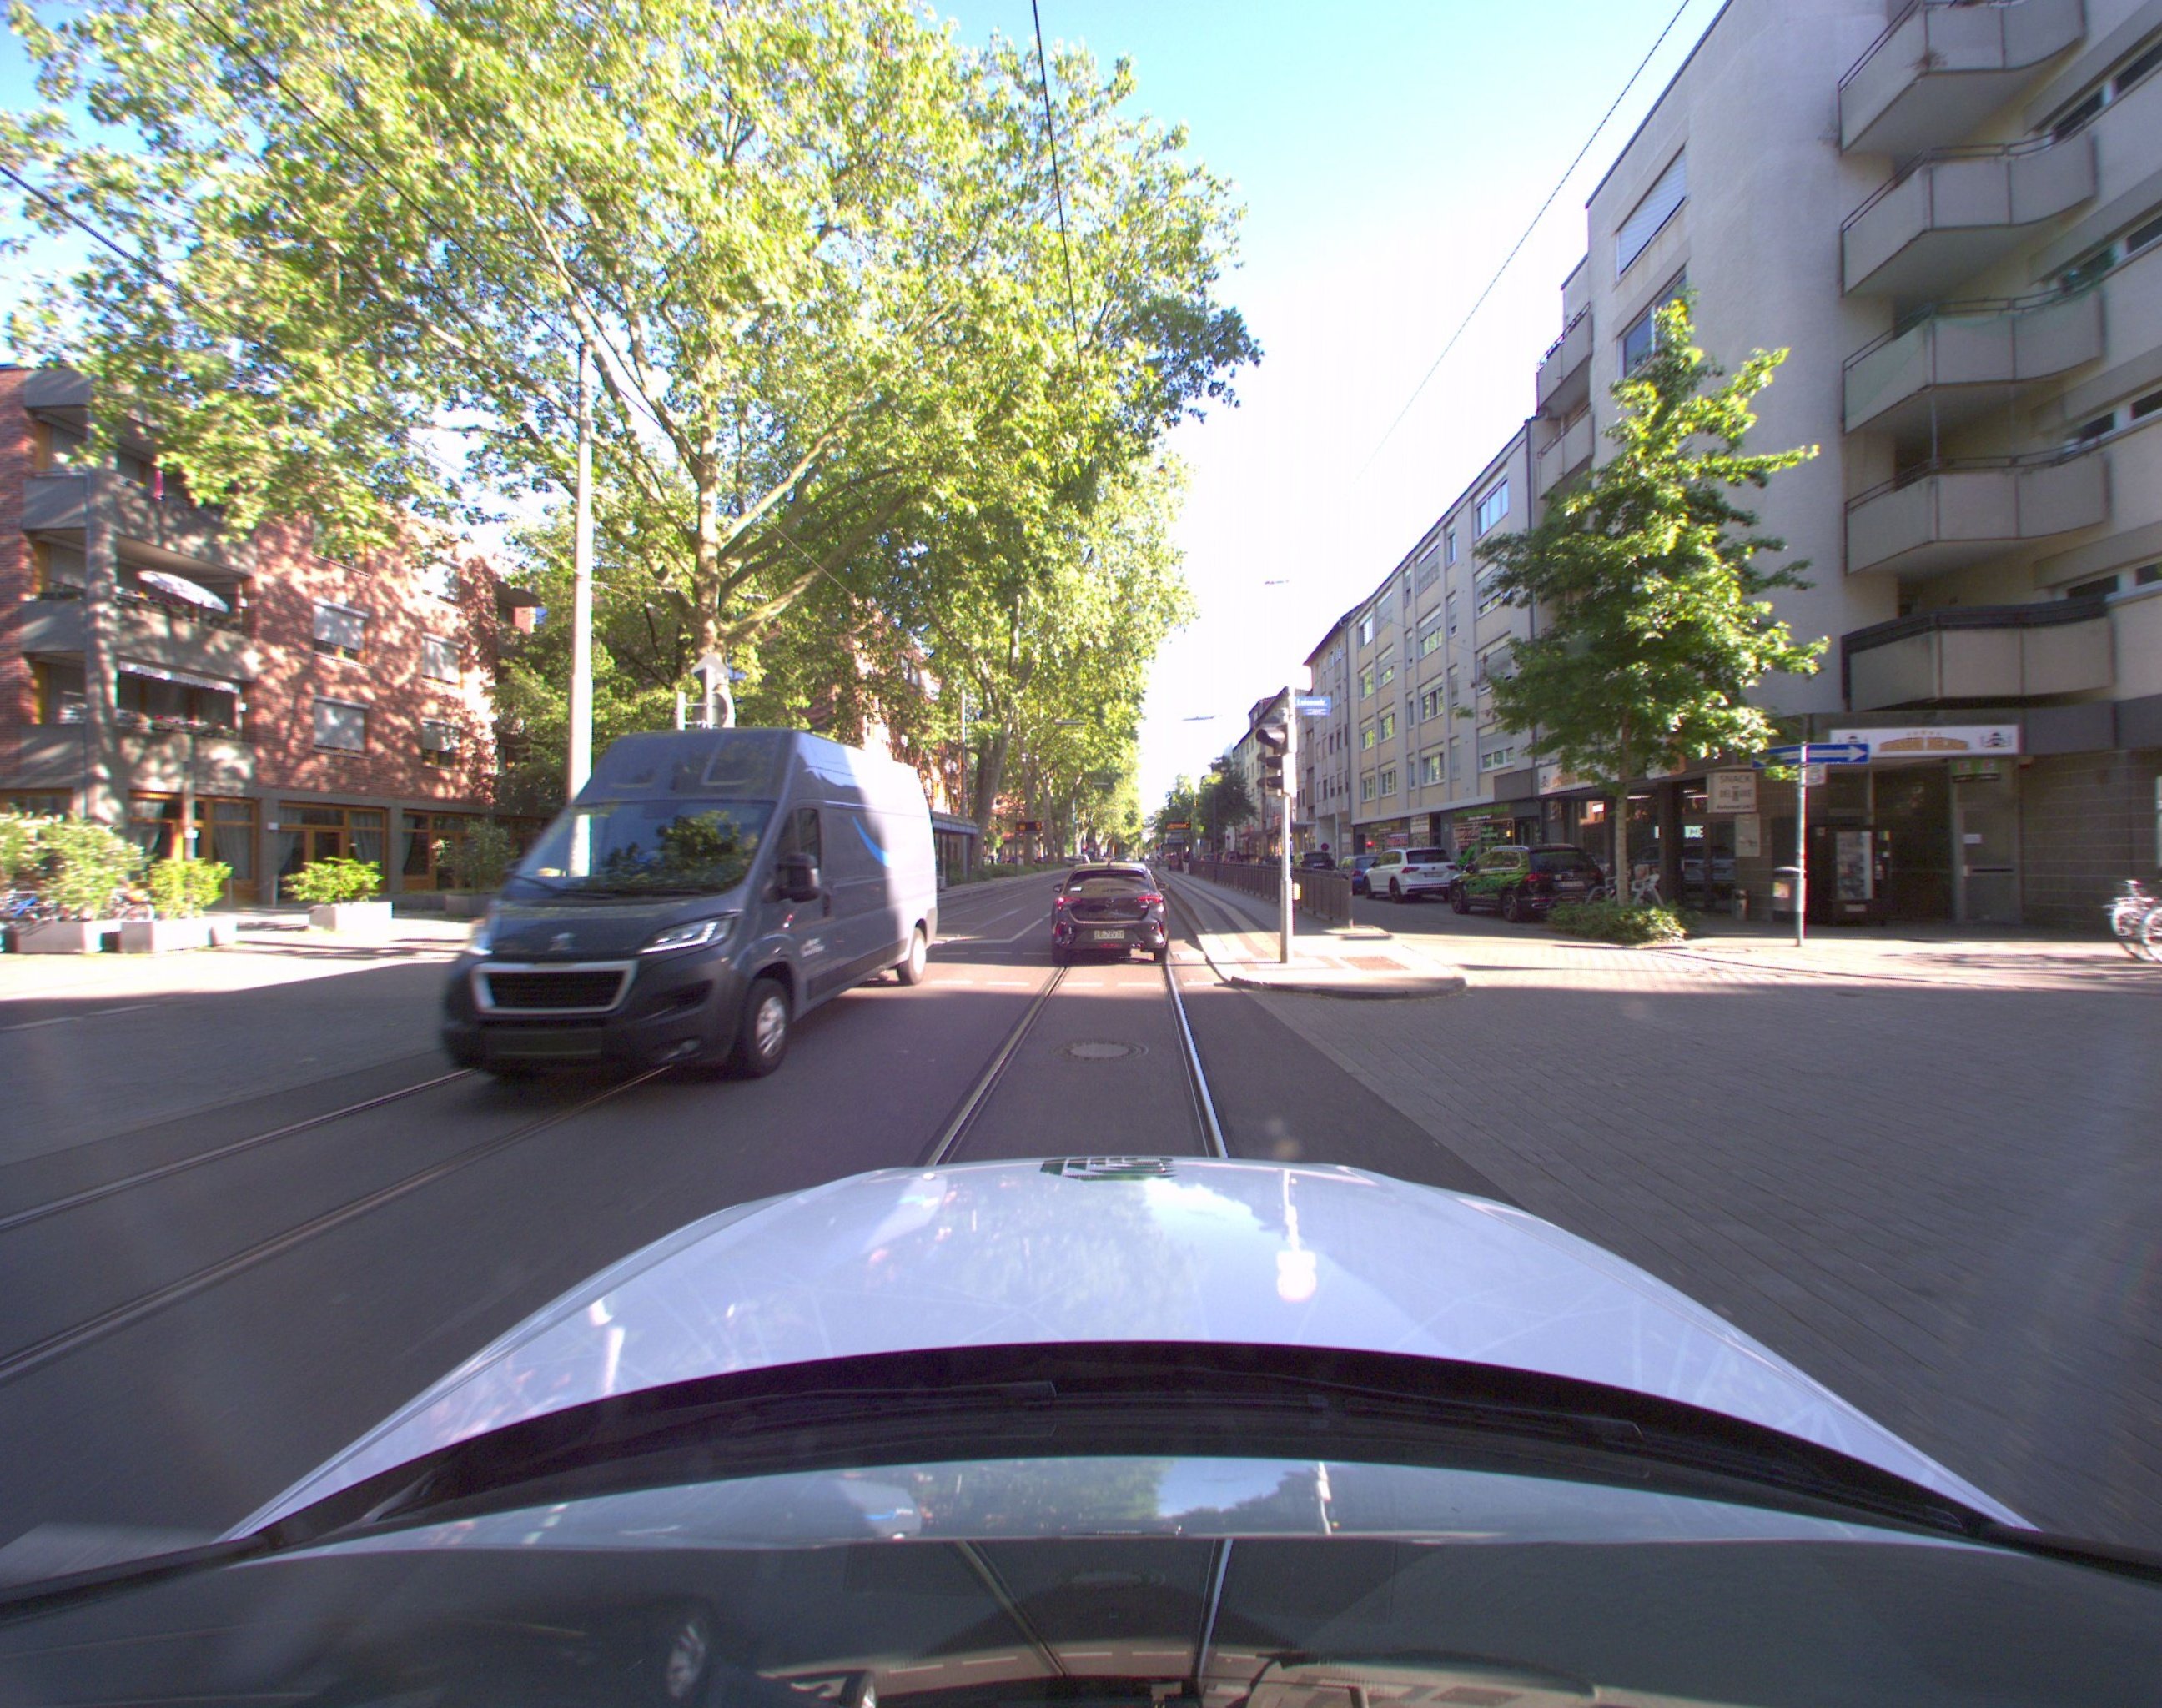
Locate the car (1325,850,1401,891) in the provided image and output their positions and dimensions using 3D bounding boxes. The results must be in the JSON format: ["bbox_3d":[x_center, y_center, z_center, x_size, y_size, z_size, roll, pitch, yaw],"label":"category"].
[{"bbox_3d":[10.724,0.616,31.243,1.736,1.440,4.251,0,-1,4],"label":"car"}]

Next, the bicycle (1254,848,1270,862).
[{"bbox_3d":[14.998,0.090,67.478,0.597,1.136,2.198,0,-1,-7],"label":"bicycle"}]

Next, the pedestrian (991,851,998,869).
[{"bbox_3d":[-9.304,0.642,87.435,0.668,1.950,0.499,0,-1,10],"label":"pedestrian"}]

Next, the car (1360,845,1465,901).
[{"bbox_3d":[10.308,0.562,25.681,1.791,1.606,4.419,0,-1,4],"label":"car"}]

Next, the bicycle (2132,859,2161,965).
[{"bbox_3d":[13.390,0.653,9.384,1.908,1.207,0.511,-1,0,-1],"label":"bicycle"}]

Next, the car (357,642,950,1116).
[{"bbox_3d":[-3.034,0.184,7.846,2.104,2.738,6.121,-2,-1,4],"label":"car"}]

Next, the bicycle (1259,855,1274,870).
[{"bbox_3d":[14.770,0.691,64.869,0.410,1.136,2.198,0,-1,-7],"label":"bicycle"}]

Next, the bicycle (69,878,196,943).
[{"bbox_3d":[-18.042,1.051,15.544,0.539,1.084,1.538,0,2,2],"label":"bicycle"}]

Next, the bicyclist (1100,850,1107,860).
[{"bbox_3d":[3.659,0.147,133.357,0.936,1.703,1.155,0,-1,7],"label":"bicyclist"}]

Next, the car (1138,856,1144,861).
[{"bbox_3d":[18.136,1.250,246.501,1.738,1.544,4.002,0,-1,2],"label":"car"}]

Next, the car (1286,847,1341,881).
[{"bbox_3d":[11.790,0.513,41.613,1.849,1.615,4.402,0,-1,4],"label":"car"}]

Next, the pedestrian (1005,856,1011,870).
[{"bbox_3d":[-9.764,1.210,108.909,0.670,1.950,0.498,1,0,0],"label":"pedestrian"}]

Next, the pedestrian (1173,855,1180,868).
[{"bbox_3d":[7.888,0.624,67.360,0.532,1.099,0.551,0,-1,-1],"label":"pedestrian"}]

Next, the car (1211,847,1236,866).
[{"bbox_3d":[14.426,0.272,82.519,1.985,1.797,4.003,0,-1,3],"label":"car"}]

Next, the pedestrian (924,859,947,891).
[{"bbox_3d":[-5.436,0.781,30.393,0.703,1.168,0.659,-2,-1,0],"label":"pedestrian"}]

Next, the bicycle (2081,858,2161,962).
[{"bbox_3d":[13.472,0.659,9.938,1.908,1.207,0.511,-1,0,-1],"label":"bicycle"}]

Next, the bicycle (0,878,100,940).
[{"bbox_3d":[-20.339,1.044,15.808,0.539,1.084,1.640,0,1,2],"label":"bicycle"}]

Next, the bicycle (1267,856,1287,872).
[{"bbox_3d":[14.267,0.725,59.331,0.621,1.136,2.433,0,-1,-7],"label":"bicycle"}]

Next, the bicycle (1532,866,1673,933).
[{"bbox_3d":[9.726,0.830,15.260,2.112,1.187,0.683,0,-1,11],"label":"bicycle"}]

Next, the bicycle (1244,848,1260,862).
[{"bbox_3d":[14.362,0.098,68.528,0.597,1.136,2.198,0,-1,-7],"label":"bicycle"}]

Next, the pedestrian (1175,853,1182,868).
[{"bbox_3d":[8.125,0.554,68.078,0.501,1.304,0.428,0,-1,-1],"label":"pedestrian"}]

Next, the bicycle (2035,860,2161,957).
[{"bbox_3d":[13.548,0.687,10.501,1.908,1.208,0.511,0,-1,-1],"label":"bicycle"}]

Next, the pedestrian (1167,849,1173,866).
[{"bbox_3d":[8.628,0.330,78.896,0.528,1.709,0.753,0,-1,6],"label":"pedestrian"}]

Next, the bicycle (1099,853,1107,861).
[{"bbox_3d":[3.547,0.527,132.445,0.950,1.240,2.983,0,-1,7],"label":"bicycle"}]

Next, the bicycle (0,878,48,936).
[{"bbox_3d":[-21.606,1.072,15.959,0.539,1.084,1.640,0,2,2],"label":"bicycle"}]

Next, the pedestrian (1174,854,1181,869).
[{"bbox_3d":[7.887,0.608,66.685,0.532,1.230,0.510,0,-1,-1],"label":"pedestrian"}]

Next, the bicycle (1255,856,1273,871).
[{"bbox_3d":[13.889,0.740,61.824,0.602,1.136,2.428,0,-1,-7],"label":"bicycle"}]

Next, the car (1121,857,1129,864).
[{"bbox_3d":[10.179,1.538,186.957,1.738,1.544,4.002,0,-1,2],"label":"car"}]

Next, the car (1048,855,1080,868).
[{"bbox_3d":[-2.211,0.962,105.950,4.105,1.701,1.881,0,-1,-4],"label":"car"}]

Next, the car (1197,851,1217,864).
[{"bbox_3d":[14.682,0.372,94.855,1.985,1.486,4.004,0,-1,4],"label":"car"}]

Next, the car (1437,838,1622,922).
[{"bbox_3d":[10.029,0.545,18.666,1.985,1.615,4.450,-2,-1,4],"label":"car"}]

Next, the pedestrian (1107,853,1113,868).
[{"bbox_3d":[3.935,0.916,110.052,0.670,2.013,0.704,1,0,15],"label":"pedestrian"}]

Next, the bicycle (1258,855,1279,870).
[{"bbox_3d":[14.403,0.675,62.764,0.610,1.136,2.914,0,-1,-7],"label":"bicycle"}]

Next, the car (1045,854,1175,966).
[{"bbox_3d":[0.451,0.786,12.991,1.753,1.508,3.684,-1,-1,2],"label":"car"}]

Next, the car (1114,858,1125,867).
[{"bbox_3d":[6.736,1.436,142.616,1.738,1.544,4.002,0,-1,2],"label":"car"}]

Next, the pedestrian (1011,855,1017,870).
[{"bbox_3d":[-8.932,1.072,108.049,0.670,1.950,0.498,1,0,0],"label":"pedestrian"}]

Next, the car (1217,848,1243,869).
[{"bbox_3d":[13.870,0.427,75.956,1.985,1.952,4.003,0,-1,3],"label":"car"}]

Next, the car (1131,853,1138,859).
[{"bbox_3d":[13.976,0.611,212.658,1.738,1.544,4.002,0,-1,2],"label":"car"}]

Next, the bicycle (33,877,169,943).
[{"bbox_3d":[-18.666,1.039,15.571,0.539,1.084,1.640,0,2,2],"label":"bicycle"}]

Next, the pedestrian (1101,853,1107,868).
[{"bbox_3d":[3.108,0.912,110.263,0.671,2.013,0.703,1,0,10],"label":"pedestrian"}]

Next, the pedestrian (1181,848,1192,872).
[{"bbox_3d":[7.216,0.406,55.844,0.628,1.576,0.871,2,0,4],"label":"pedestrian"}]

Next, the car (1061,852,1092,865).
[{"bbox_3d":[-0.687,0.615,118.146,4.375,1.851,1.997,0,-1,-4],"label":"car"}]

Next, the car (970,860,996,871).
[{"bbox_3d":[-17.301,2.008,143.787,4.231,2.014,2.002,0,-1,3],"label":"car"}]

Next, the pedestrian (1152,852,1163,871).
[{"bbox_3d":[6.991,0.690,74.685,0.742,1.709,0.768,0,-1,38],"label":"pedestrian"}]
